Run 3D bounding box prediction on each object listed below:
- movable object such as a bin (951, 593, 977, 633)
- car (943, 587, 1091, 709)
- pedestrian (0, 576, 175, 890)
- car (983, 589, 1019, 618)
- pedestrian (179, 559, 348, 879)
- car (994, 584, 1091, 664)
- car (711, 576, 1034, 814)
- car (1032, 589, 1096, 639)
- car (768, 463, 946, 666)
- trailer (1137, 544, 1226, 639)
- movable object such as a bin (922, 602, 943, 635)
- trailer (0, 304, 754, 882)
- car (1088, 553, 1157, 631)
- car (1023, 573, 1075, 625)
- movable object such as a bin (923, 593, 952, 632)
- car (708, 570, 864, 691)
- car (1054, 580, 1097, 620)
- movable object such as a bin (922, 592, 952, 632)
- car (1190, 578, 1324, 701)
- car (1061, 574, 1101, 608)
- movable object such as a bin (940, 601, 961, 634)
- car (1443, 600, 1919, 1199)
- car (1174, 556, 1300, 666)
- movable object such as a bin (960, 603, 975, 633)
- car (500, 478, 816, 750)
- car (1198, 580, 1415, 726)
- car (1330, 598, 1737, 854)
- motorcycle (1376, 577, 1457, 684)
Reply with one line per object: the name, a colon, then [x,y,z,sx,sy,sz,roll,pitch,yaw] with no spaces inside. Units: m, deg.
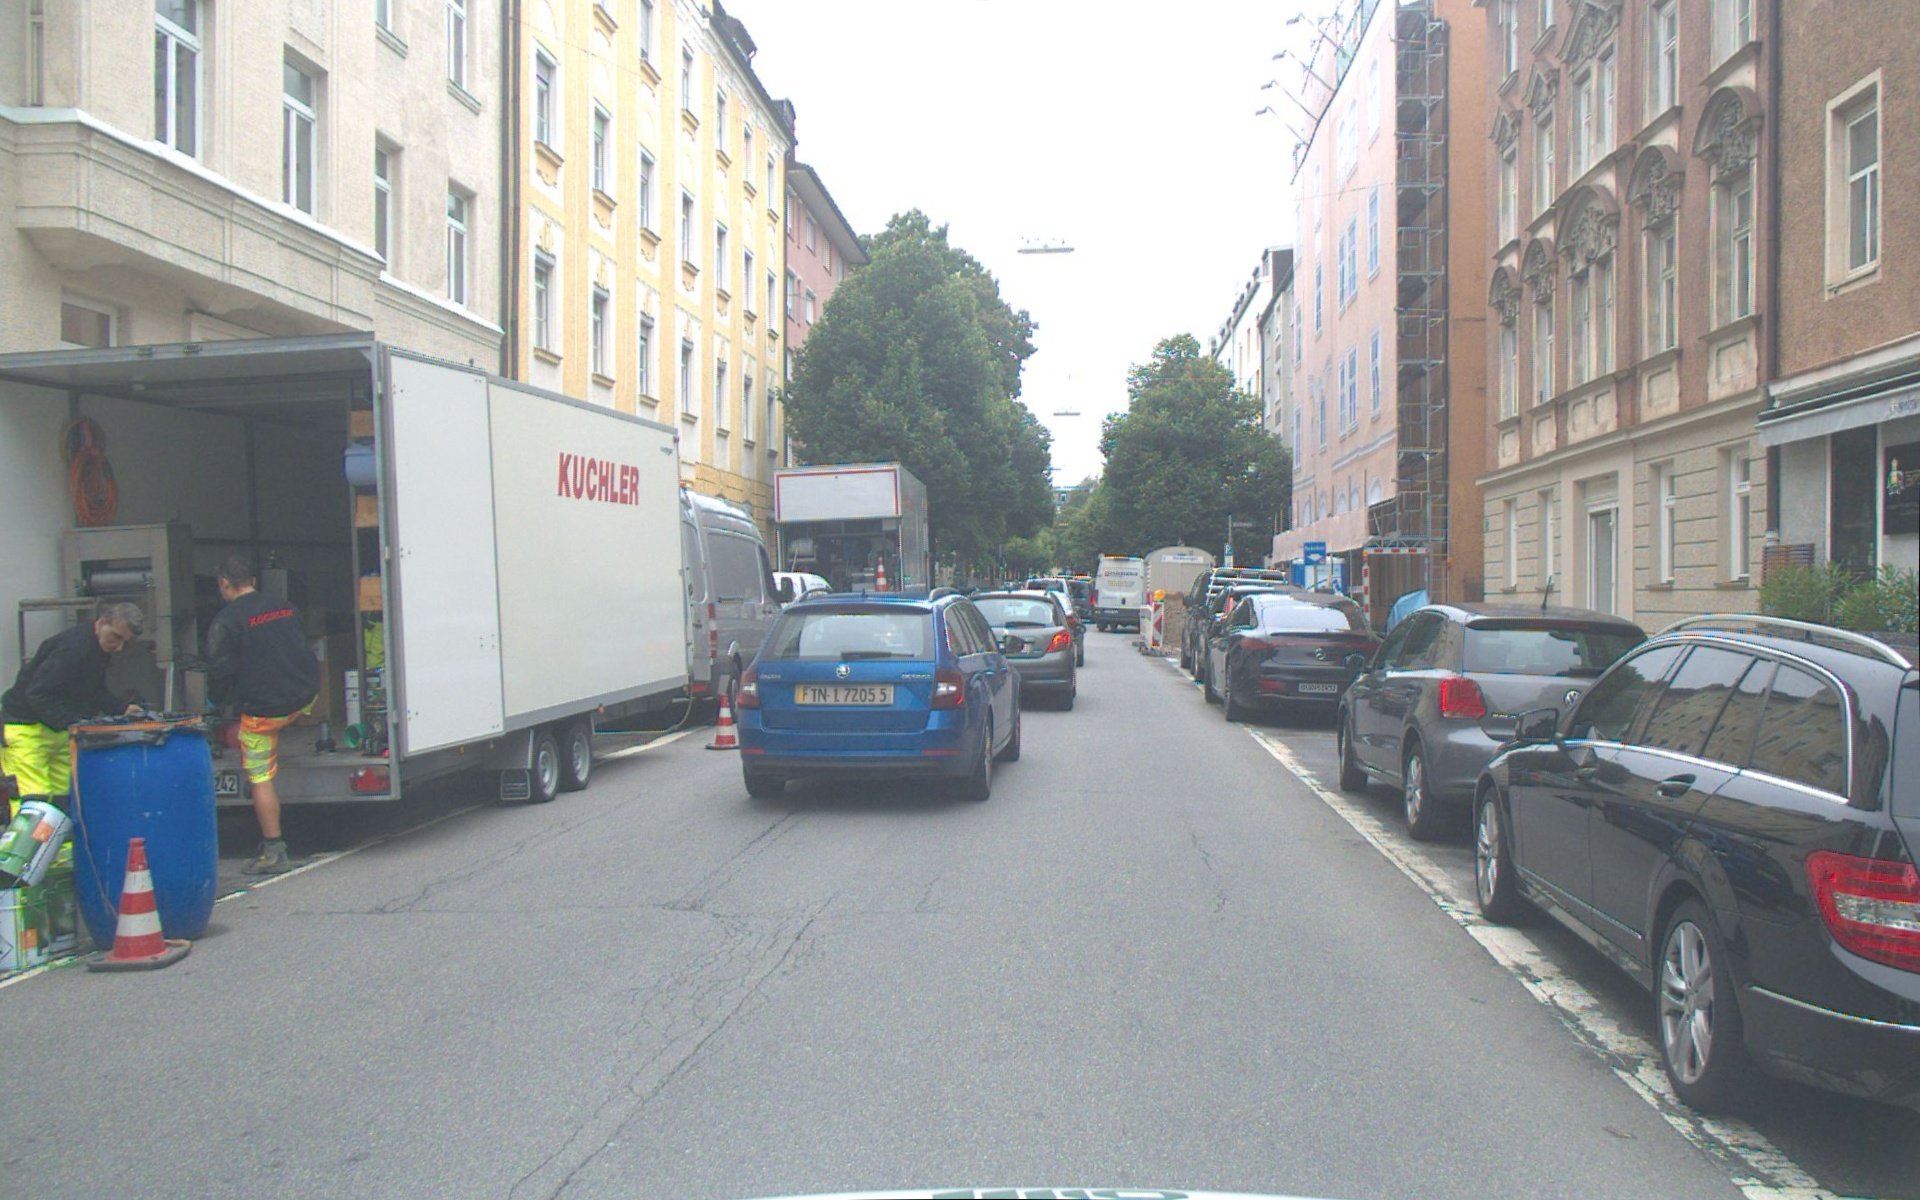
movable object such as a bin: [0.134,0.475,60.941,0.899,1.400,1.080,-2,0,0]
car: [0.824,0.577,21.693,1.704,1.446,3.666,1,0,6]
pedestrian: [-4.704,0.682,8.874,0.748,1.608,0.635,-1,0,-13]
car: [2.288,0.174,91.476,1.774,1.504,4.002,1,1,4]
pedestrian: [-3.770,0.614,8.996,0.748,1.659,0.634,0,0,-15]
car: [1.718,0.440,34.038,1.828,1.479,4.349,1,1,3]
car: [-0.466,0.591,12.551,1.751,1.486,4.317,0,0,6]
car: [3.171,0.395,49.981,1.828,1.371,4.350,1,1,4]
car: [-2.017,-0.683,36.036,2.753,3.884,8.727,0,0,4]
trailer: [7.208,-0.257,54.539,2.449,2.889,6.905,1,0,4]
movable object such as a bin: [-0.989,0.655,60.045,0.706,1.158,0.659,-2,0,1]
trailer: [-3.917,-0.074,12.830,2.744,3.020,7.605,-3,1,6]
car: [6.121,-0.268,61.730,2.067,2.710,5.504,1,0,10]
car: [3.427,-0.070,63.213,1.828,1.902,4.350,1,1,4]
movable object such as a bin: [-0.835,0.459,62.027,1.035,1.400,1.095,-2,0,0]
car: [-2.820,0.466,27.721,1.725,1.810,4.329,-2,0,5]
car: [5.190,-0.043,74.120,1.828,1.681,4.350,1,1,4]
movable object such as a bin: [-0.845,0.441,60.924,1.059,1.400,1.083,-2,0,0]
car: [4.650,0.578,26.423,1.658,1.705,4.410,3,0,5]
car: [6.336,-0.508,86.868,1.966,1.681,4.349,1,1,4]
movable object such as a bin: [-0.333,0.632,60.055,0.696,1.168,0.636,-2,0,1]
car: [3.212,0.726,6.101,1.808,1.429,4.791,0,0,4]
car: [5.330,0.292,32.436,2.038,1.955,5.143,1,-2,5]
movable object such as a bin: [0.275,0.653,60.075,0.535,1.038,0.636,-2,0,1]
car: [-3.388,0.121,20.316,2.013,2.632,6.880,-4,0,4]
car: [4.225,0.564,21.074,1.890,1.580,5.639,1,0,3]
car: [3.657,0.710,11.301,1.539,1.419,4.184,0,0,3]
motorcycle: [6.792,0.430,24.698,0.853,1.531,1.998,0,0,6]
